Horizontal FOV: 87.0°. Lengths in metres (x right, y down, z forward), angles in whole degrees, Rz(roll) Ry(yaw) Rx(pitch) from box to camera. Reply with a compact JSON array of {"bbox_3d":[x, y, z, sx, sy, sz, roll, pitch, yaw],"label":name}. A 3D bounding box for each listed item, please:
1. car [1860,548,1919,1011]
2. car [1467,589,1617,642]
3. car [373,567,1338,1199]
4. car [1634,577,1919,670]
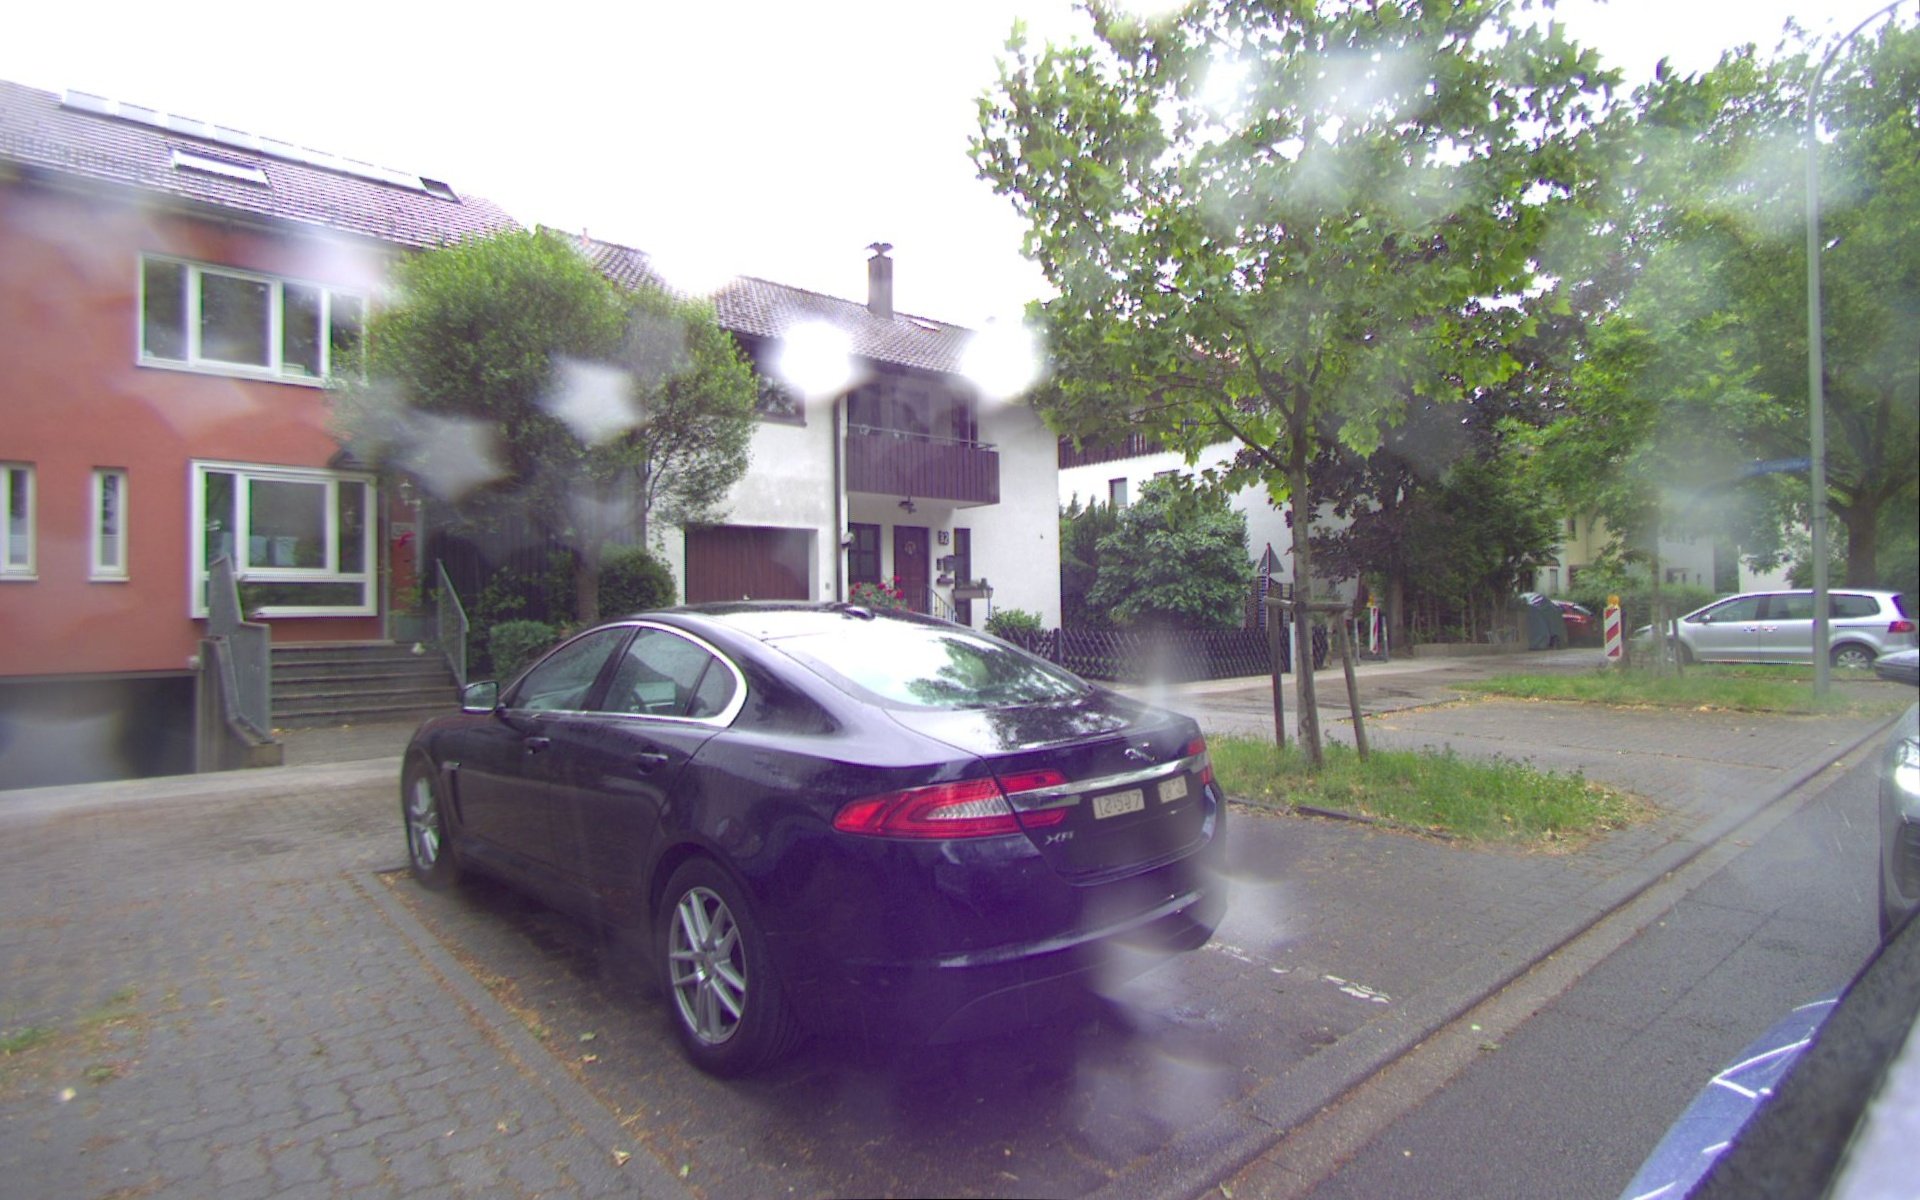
[{"bbox_3d":[5.542,0.634,4.409,4.346,1.638,1.861,0,0,-41],"label":"car"},{"bbox_3d":[18.956,0.470,33.083,1.809,1.633,3.853,0,0,-39],"label":"car"},{"bbox_3d":[-0.970,0.665,4.681,1.906,1.491,4.768,0,0,-45],"label":"car"},{"bbox_3d":[16.695,0.435,20.557,1.942,1.682,4.694,0,0,-42],"label":"car"}]
